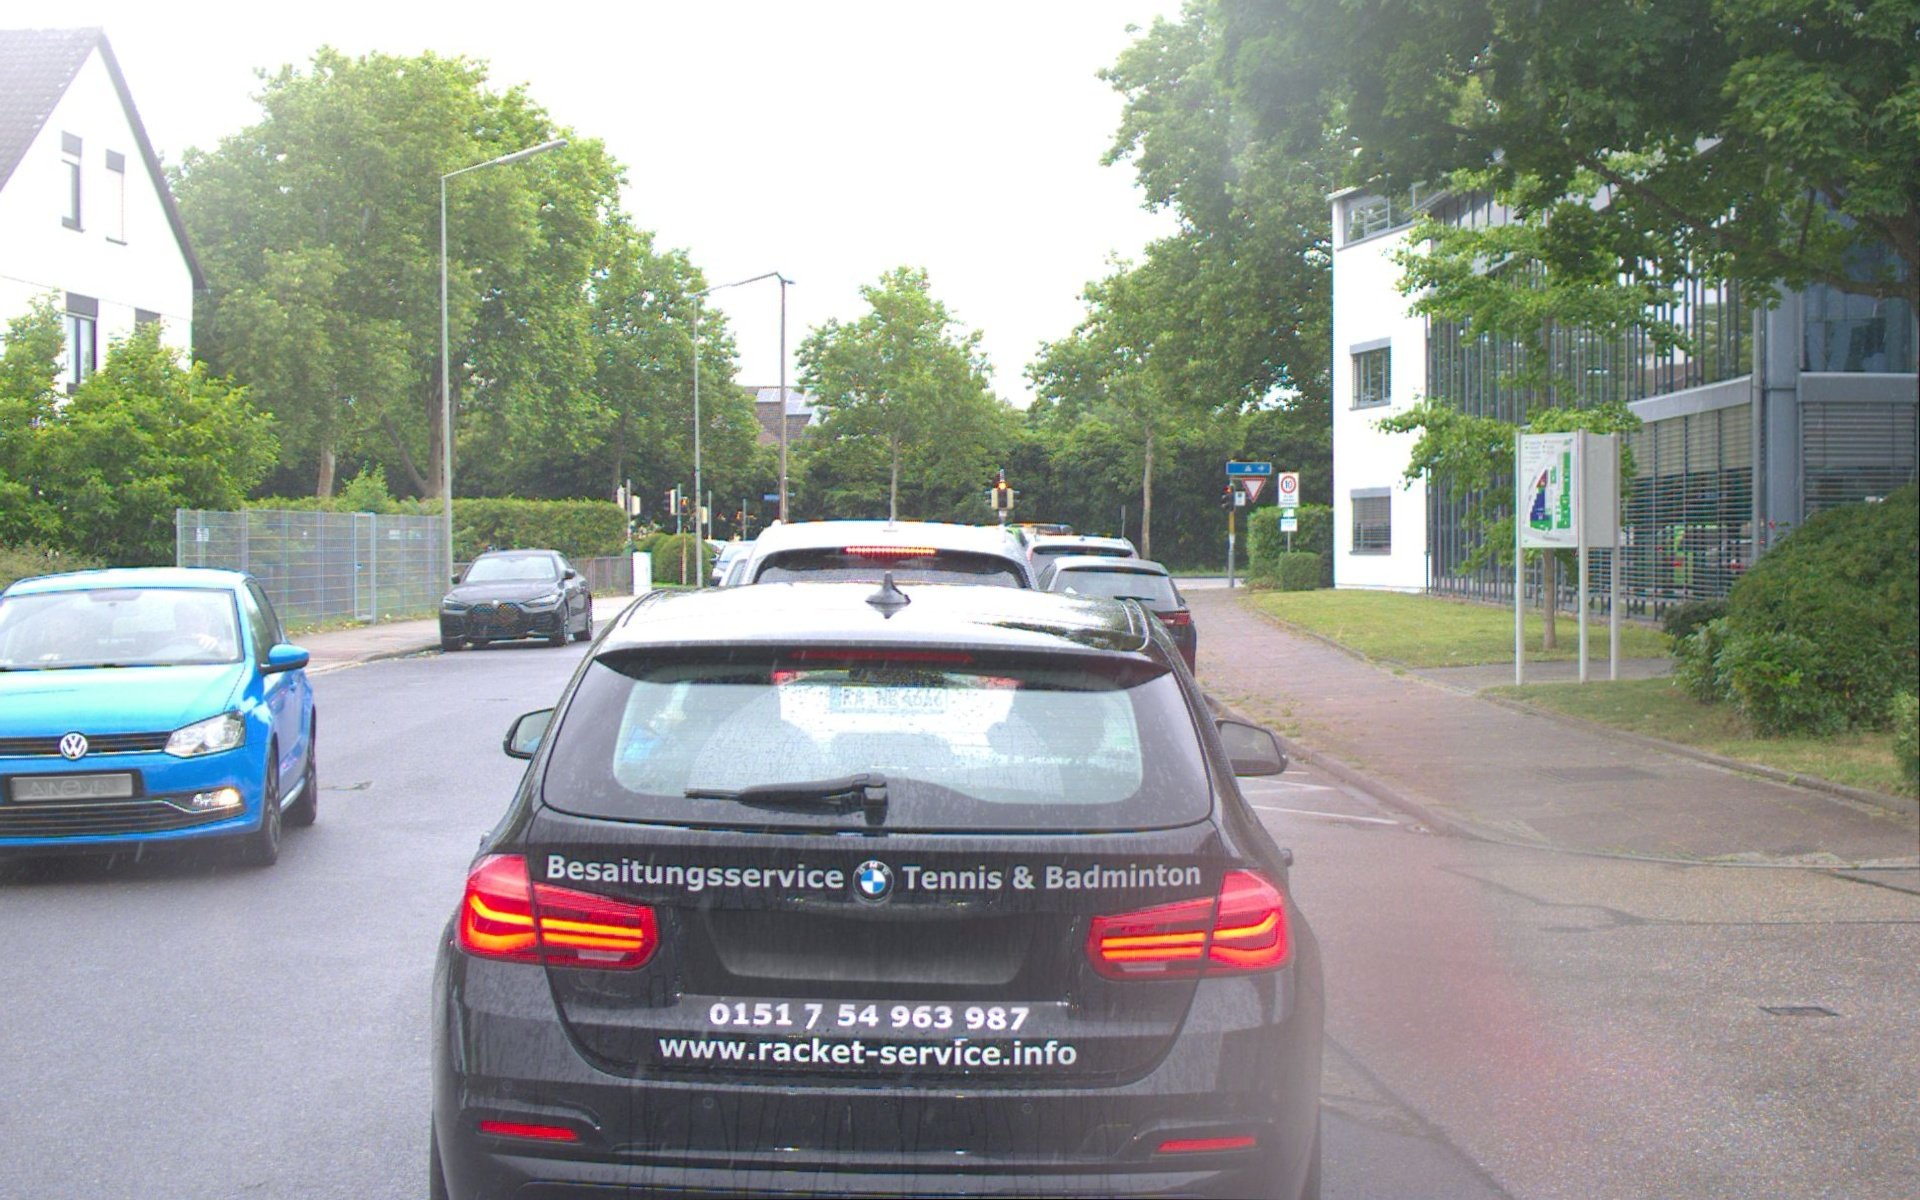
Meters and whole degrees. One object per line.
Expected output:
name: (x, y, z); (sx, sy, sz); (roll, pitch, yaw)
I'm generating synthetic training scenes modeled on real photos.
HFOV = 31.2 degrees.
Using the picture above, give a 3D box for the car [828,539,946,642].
car: (-1.143, -0.165, 55.538); (1.804, 1.581, 4.000); (1, 1, 0)

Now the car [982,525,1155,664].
car: (1.262, -0.086, 41.488); (1.804, 1.581, 4.000); (1, 1, -2)

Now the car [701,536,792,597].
car: (-5.173, -0.834, 83.698); (1.706, 1.362, 3.838); (-2, 1, 3)

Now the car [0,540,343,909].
car: (-4.214, 0.539, 17.356); (1.705, 1.589, 3.839); (-3, 1, -4)

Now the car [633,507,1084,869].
car: (-0.628, 0.369, 17.120); (1.804, 1.581, 4.001); (0, 1, -8)

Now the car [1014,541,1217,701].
car: (1.578, 0.189, 36.130); (1.804, 1.581, 4.000); (1, 1, -2)

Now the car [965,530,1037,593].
car: (1.024, -1.010, 88.308); (1.804, 1.581, 4.000); (0, 1, 0)

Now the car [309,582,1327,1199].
car: (-0.464, 0.671, 8.102); (1.804, 1.390, 4.001); (0, 1, -6)

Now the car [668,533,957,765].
car: (-1.176, 0.318, 25.570); (1.804, 1.581, 4.001); (0, 1, -7)

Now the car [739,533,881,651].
car: (-2.075, -0.133, 48.510); (1.804, 1.581, 4.000); (1, 1, 0)

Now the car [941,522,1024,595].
car: (0.489, -0.953, 77.295); (1.804, 1.581, 4.000); (0, 1, 0)

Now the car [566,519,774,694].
car: (-2.746, 0.039, 33.311); (1.804, 1.581, 4.000); (1, 1, -2)

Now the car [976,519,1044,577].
car: (1.362, -1.455, 95.165); (1.804, 1.581, 4.000); (0, 1, 0)

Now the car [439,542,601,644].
car: (-6.588, -0.135, 51.794); (1.706, 1.362, 3.838); (-2, 1, 3)
